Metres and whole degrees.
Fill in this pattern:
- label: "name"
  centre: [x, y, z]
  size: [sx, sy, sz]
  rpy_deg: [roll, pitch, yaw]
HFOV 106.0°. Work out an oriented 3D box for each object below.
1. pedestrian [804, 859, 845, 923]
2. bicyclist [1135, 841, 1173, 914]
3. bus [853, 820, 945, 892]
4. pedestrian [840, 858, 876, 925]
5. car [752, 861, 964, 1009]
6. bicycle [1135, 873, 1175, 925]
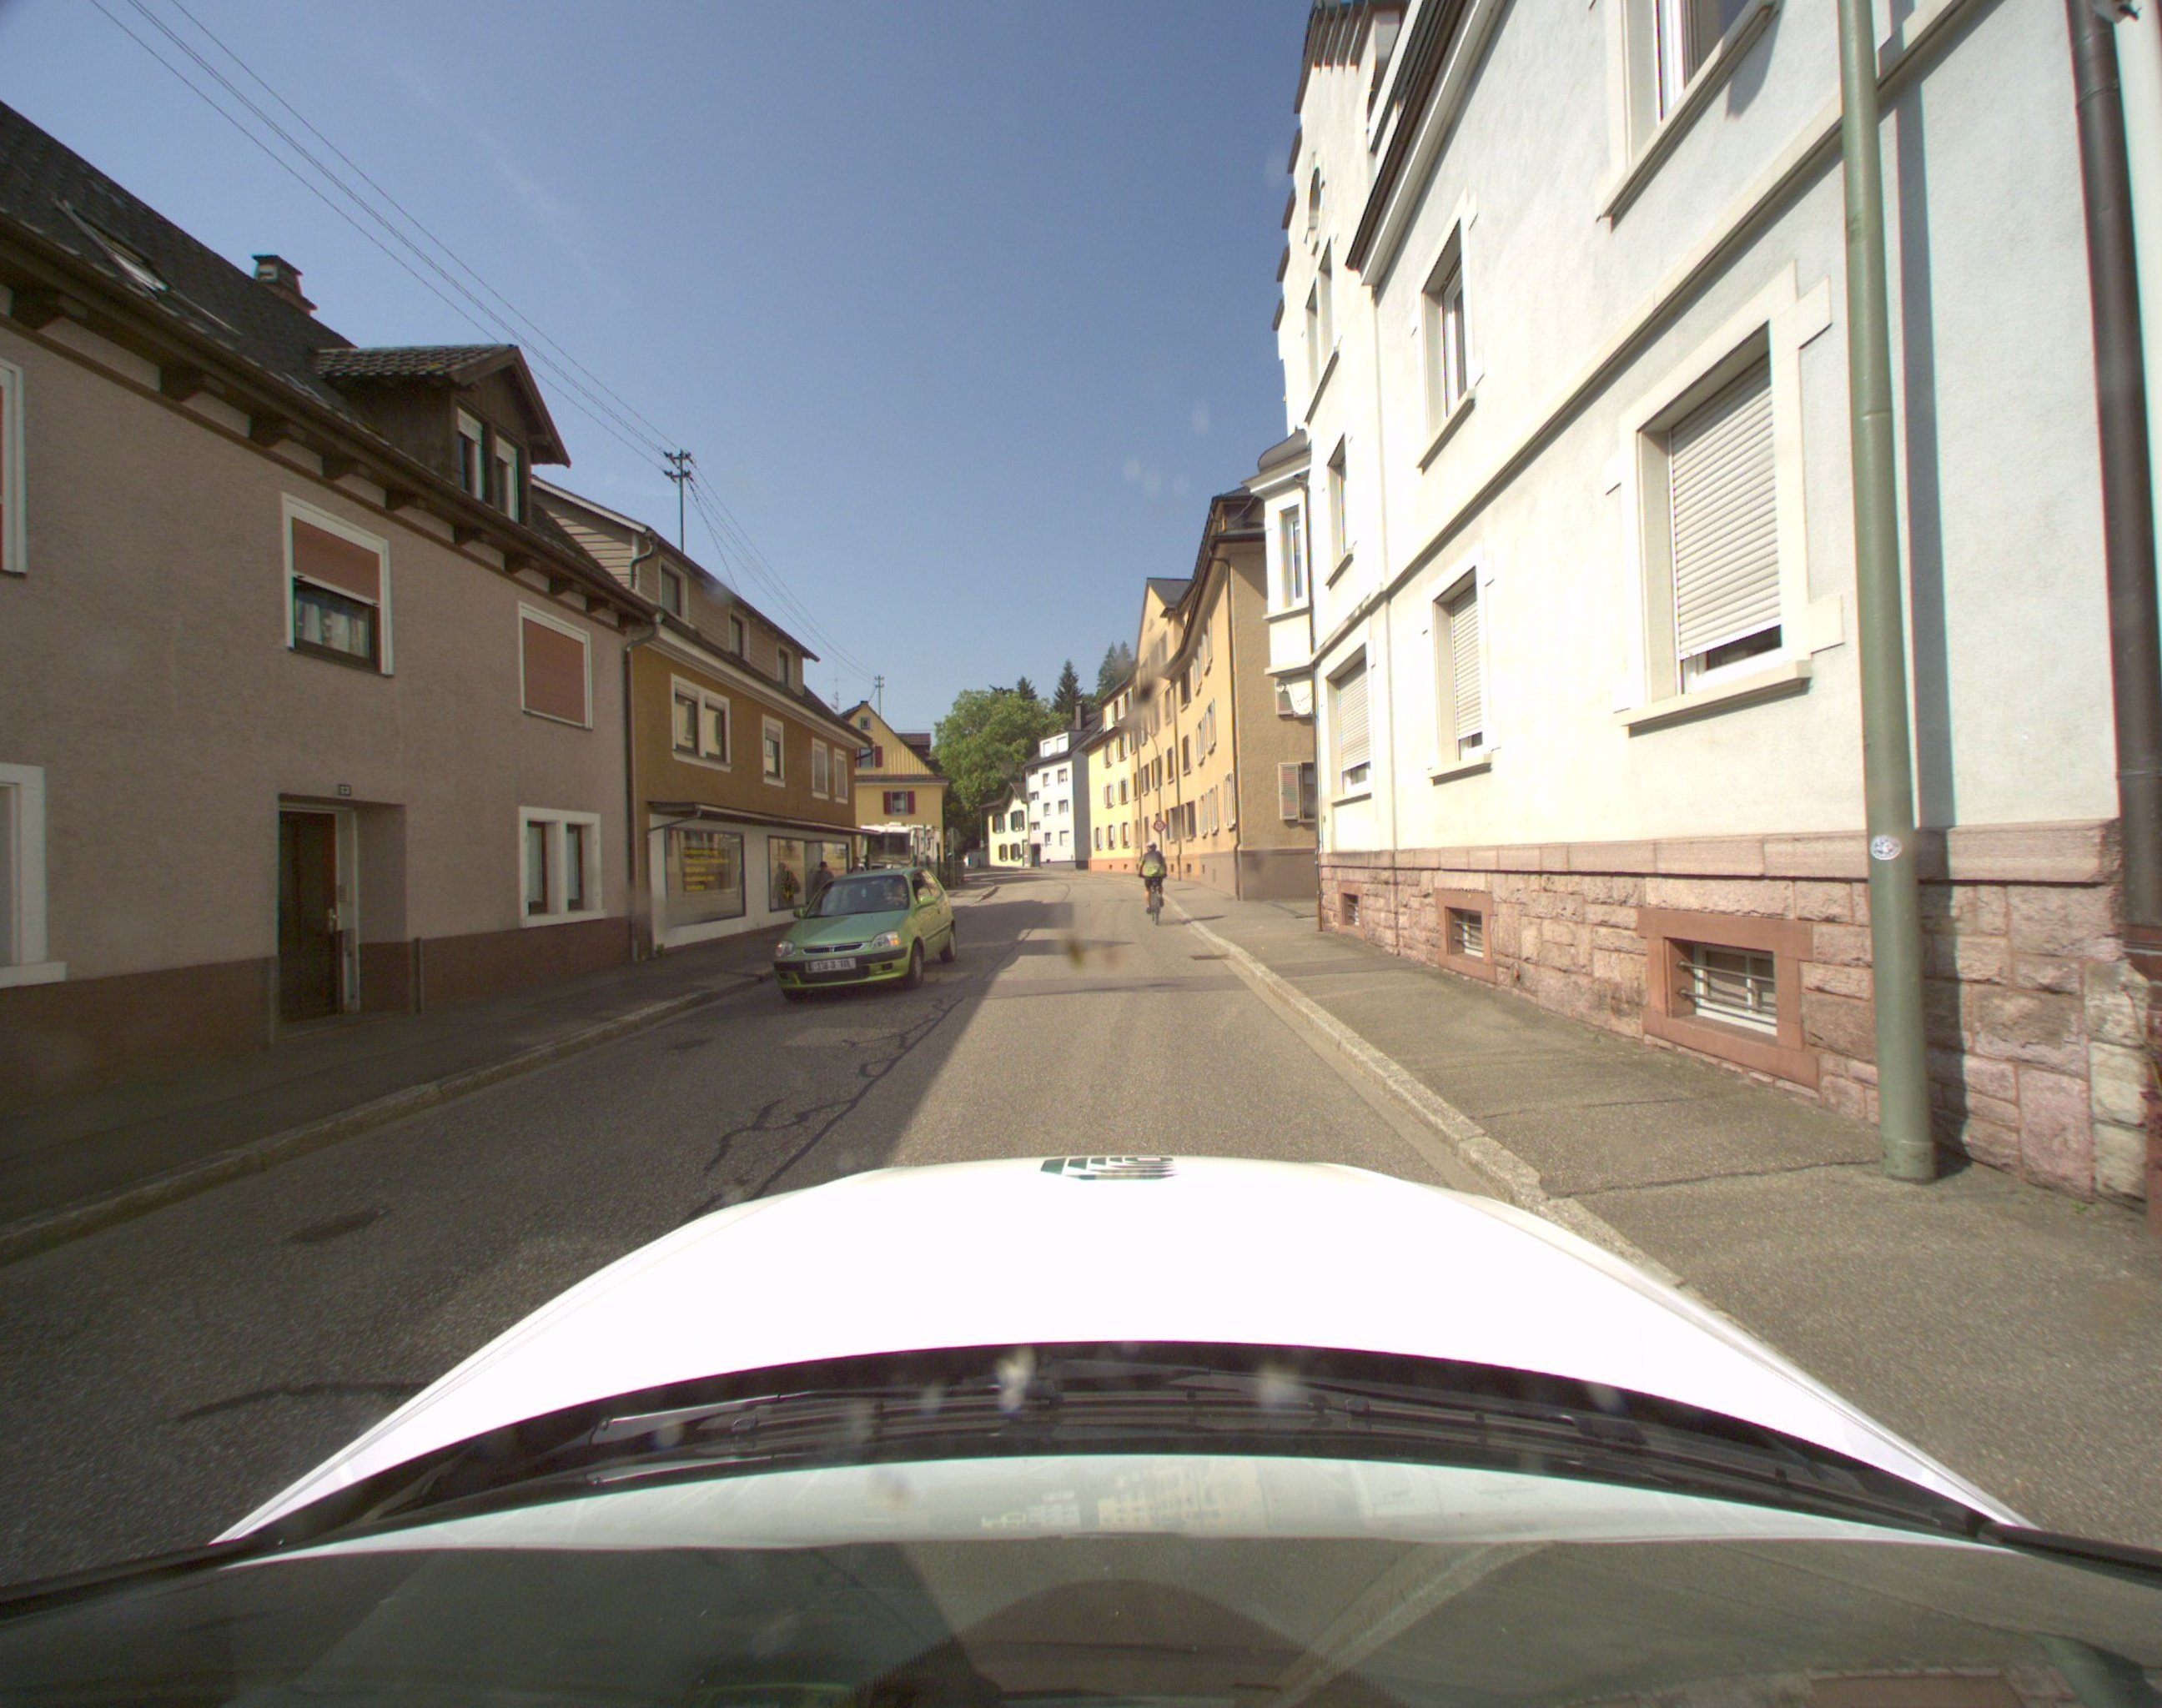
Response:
- label: "pedestrian"
  centre: [-6.459, 0.914, 20.538]
  size: [0.732, 1.564, 0.825]
  rpy_deg: [1, 0, 1]
- label: "bicyclist"
  centre: [1.572, 0.500, 17.600]
  size: [0.683, 1.531, 0.715]
  rpy_deg: [-3, -1, -1]
- label: "bus"
  centre: [-8.873, 0.097, 40.808]
  size: [2.813, 3.228, 9.029]
  rpy_deg: [0, 0, -2]
- label: "pedestrian"
  centre: [-5.584, 0.916, 20.428]
  size: [0.637, 1.626, 0.777]
  rpy_deg: [1, 0, 1]
- label: "car"
  centre: [-2.719, 0.909, 10.807]
  size: [1.591, 1.464, 3.661]
  rpy_deg: [-5, 0, 2]
- label: "bicycle"
  centre: [1.592, 0.957, 17.656]
  size: [0.696, 1.035, 1.471]
  rpy_deg: [-1, 0, 0]
